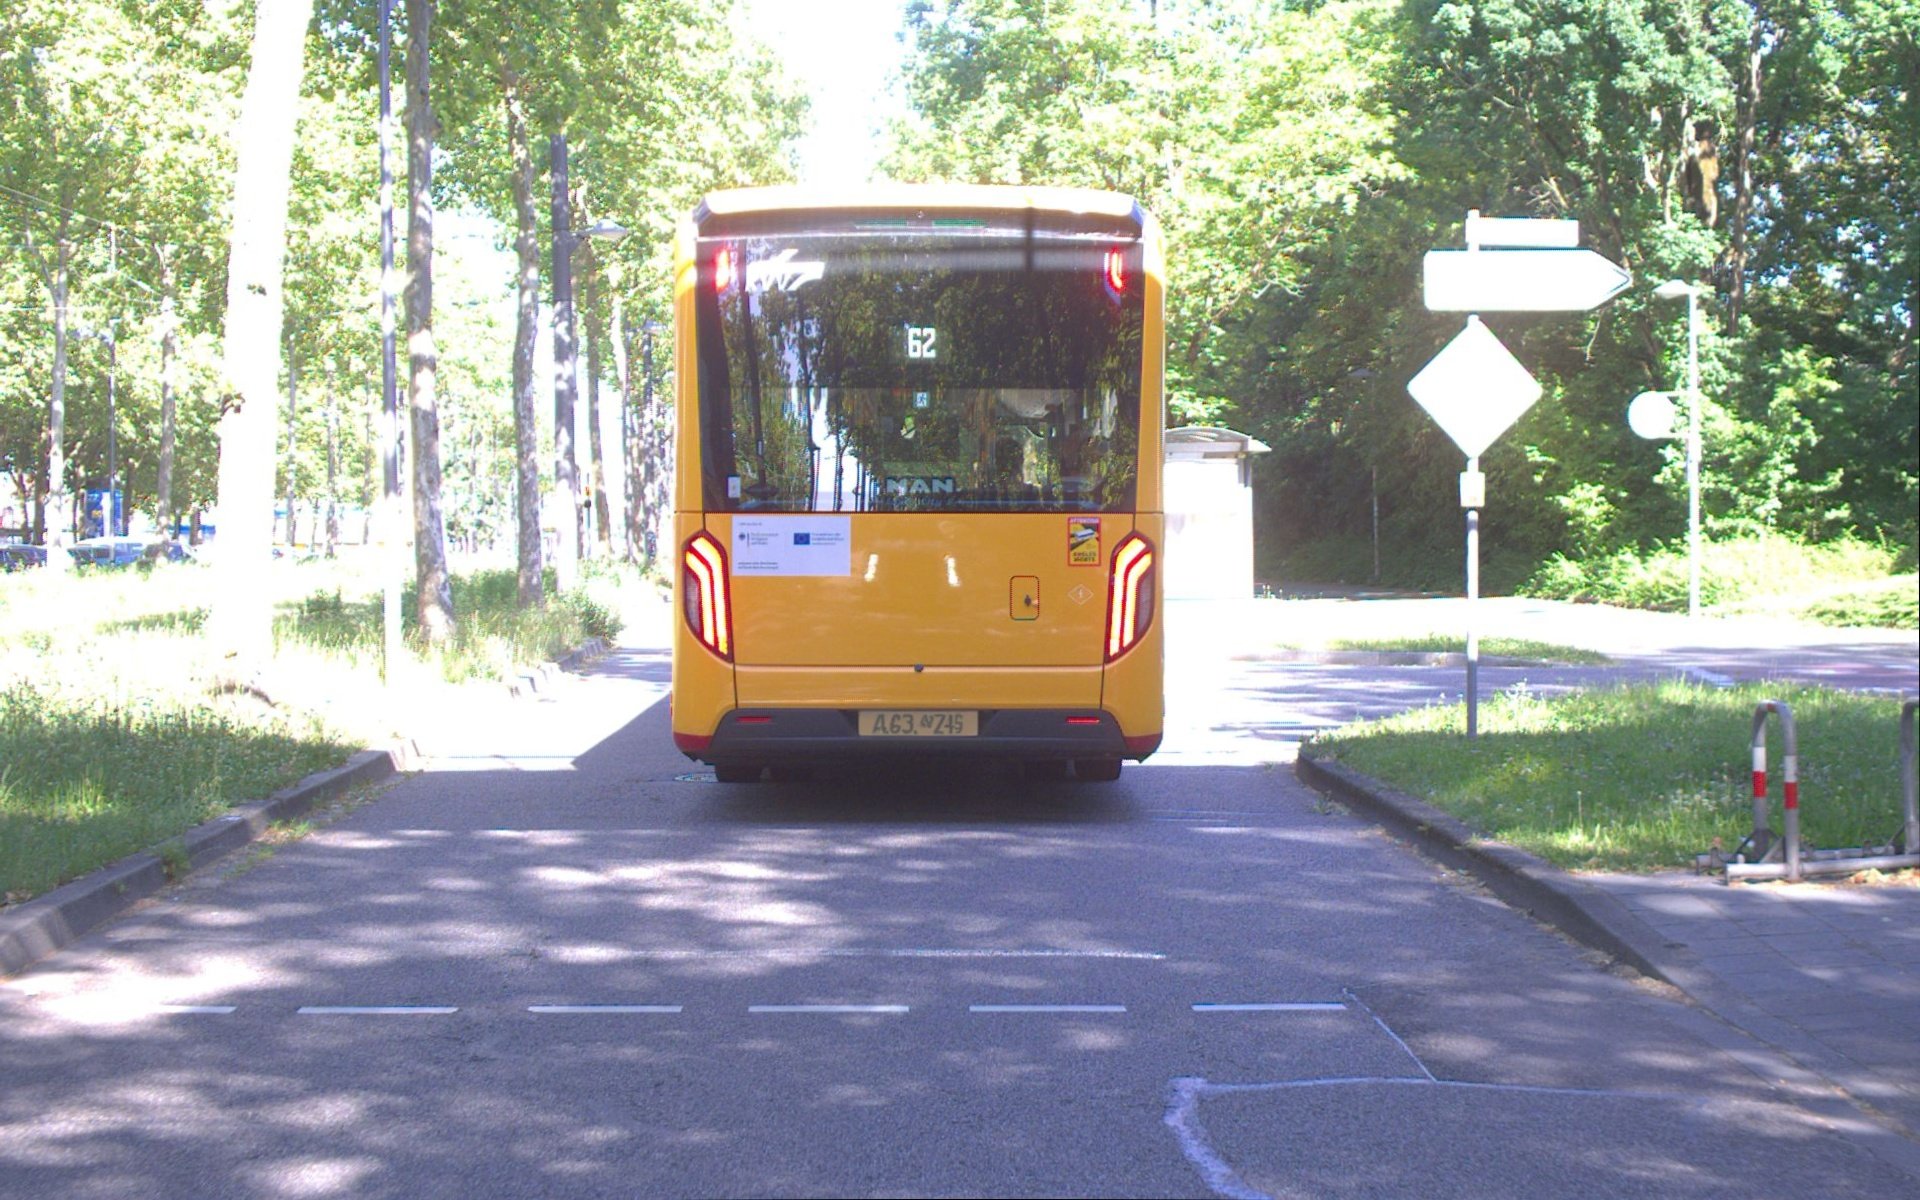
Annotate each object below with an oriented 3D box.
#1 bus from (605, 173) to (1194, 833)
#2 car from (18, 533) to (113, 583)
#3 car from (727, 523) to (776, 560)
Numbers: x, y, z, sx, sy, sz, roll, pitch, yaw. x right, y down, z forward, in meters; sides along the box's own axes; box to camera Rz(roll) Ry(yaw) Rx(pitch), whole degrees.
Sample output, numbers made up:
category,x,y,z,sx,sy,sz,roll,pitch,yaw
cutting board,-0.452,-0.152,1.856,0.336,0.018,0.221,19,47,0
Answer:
category,x,y,z,sx,sy,sz,roll,pitch,yaw
bus,-0.489,-0.601,23.190,2.899,3.255,12.219,-1,1,-2
car,-27.926,-1.337,107.421,1.794,1.505,4.000,-1,1,2
car,-9.815,-2.765,161.887,1.986,1.637,4.134,2,2,0
